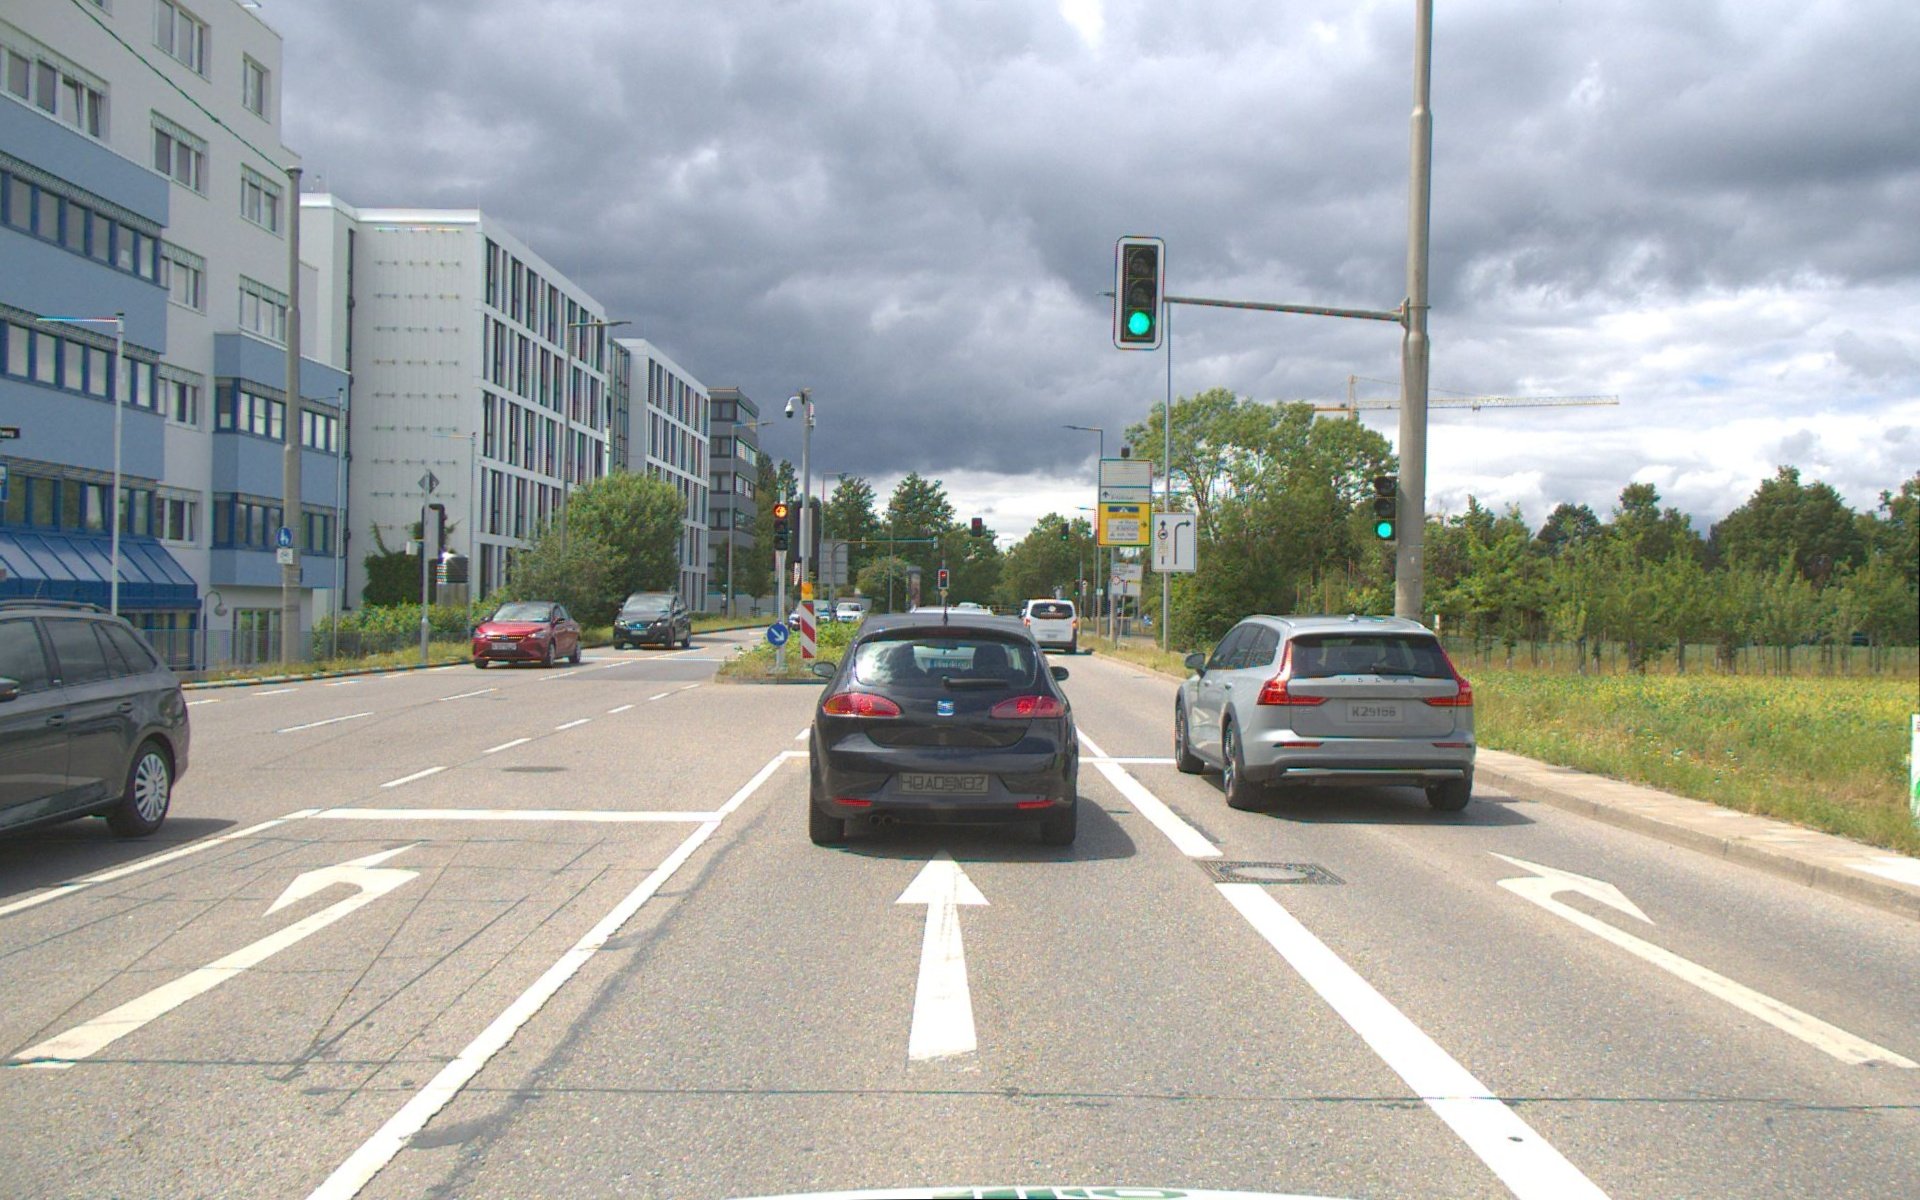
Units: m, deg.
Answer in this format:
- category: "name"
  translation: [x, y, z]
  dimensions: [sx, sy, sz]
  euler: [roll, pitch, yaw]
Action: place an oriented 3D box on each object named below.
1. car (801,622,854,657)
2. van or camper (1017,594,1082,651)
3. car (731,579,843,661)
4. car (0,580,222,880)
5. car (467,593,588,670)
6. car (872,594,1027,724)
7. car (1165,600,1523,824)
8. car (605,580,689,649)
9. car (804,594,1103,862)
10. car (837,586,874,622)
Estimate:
- category: "car"
  translation: [-5.502, 1.621, 69.137]
  dimensions: [1.953, 1.434, 3.999]
  euler: [0, -1, -1]
- category: "van or camper"
  translation: [3.150, 0.803, 58.762]
  dimensions: [1.861, 1.959, 3.997]
  euler: [0, -1, -4]
- category: "car"
  translation: [-3.302, 0.398, 32.219]
  dimensions: [1.808, 1.487, 4.054]
  euler: [0, -1, -1]
- category: "car"
  translation: [-5.855, 0.699, 9.279]
  dimensions: [1.635, 1.551, 4.007]
  euler: [-2, 1, -1]
- category: "car"
  translation: [-9.774, 0.704, 37.679]
  dimensions: [1.740, 1.640, 3.999]
  euler: [0, -1, -1]
- category: "car"
  translation: [-0.189, 0.780, 23.112]
  dimensions: [1.943, 1.618, 4.224]
  euler: [1, -1, -2]
- category: "car"
  translation: [2.997, 0.827, 13.916]
  dimensions: [1.918, 1.552, 4.338]
  euler: [-1, -1, -1]
- category: "car"
  translation: [-9.650, 0.458, 51.236]
  dimensions: [1.954, 2.049, 4.478]
  euler: [0, -1, -3]
- category: "car"
  translation: [0.050, 0.773, 11.681]
  dimensions: [1.711, 1.510, 4.001]
  euler: [2, -1, 3]
- category: "car"
  translation: [-6.070, 0.257, 96.764]
  dimensions: [1.953, 2.049, 3.999]
  euler: [0, -1, -1]
